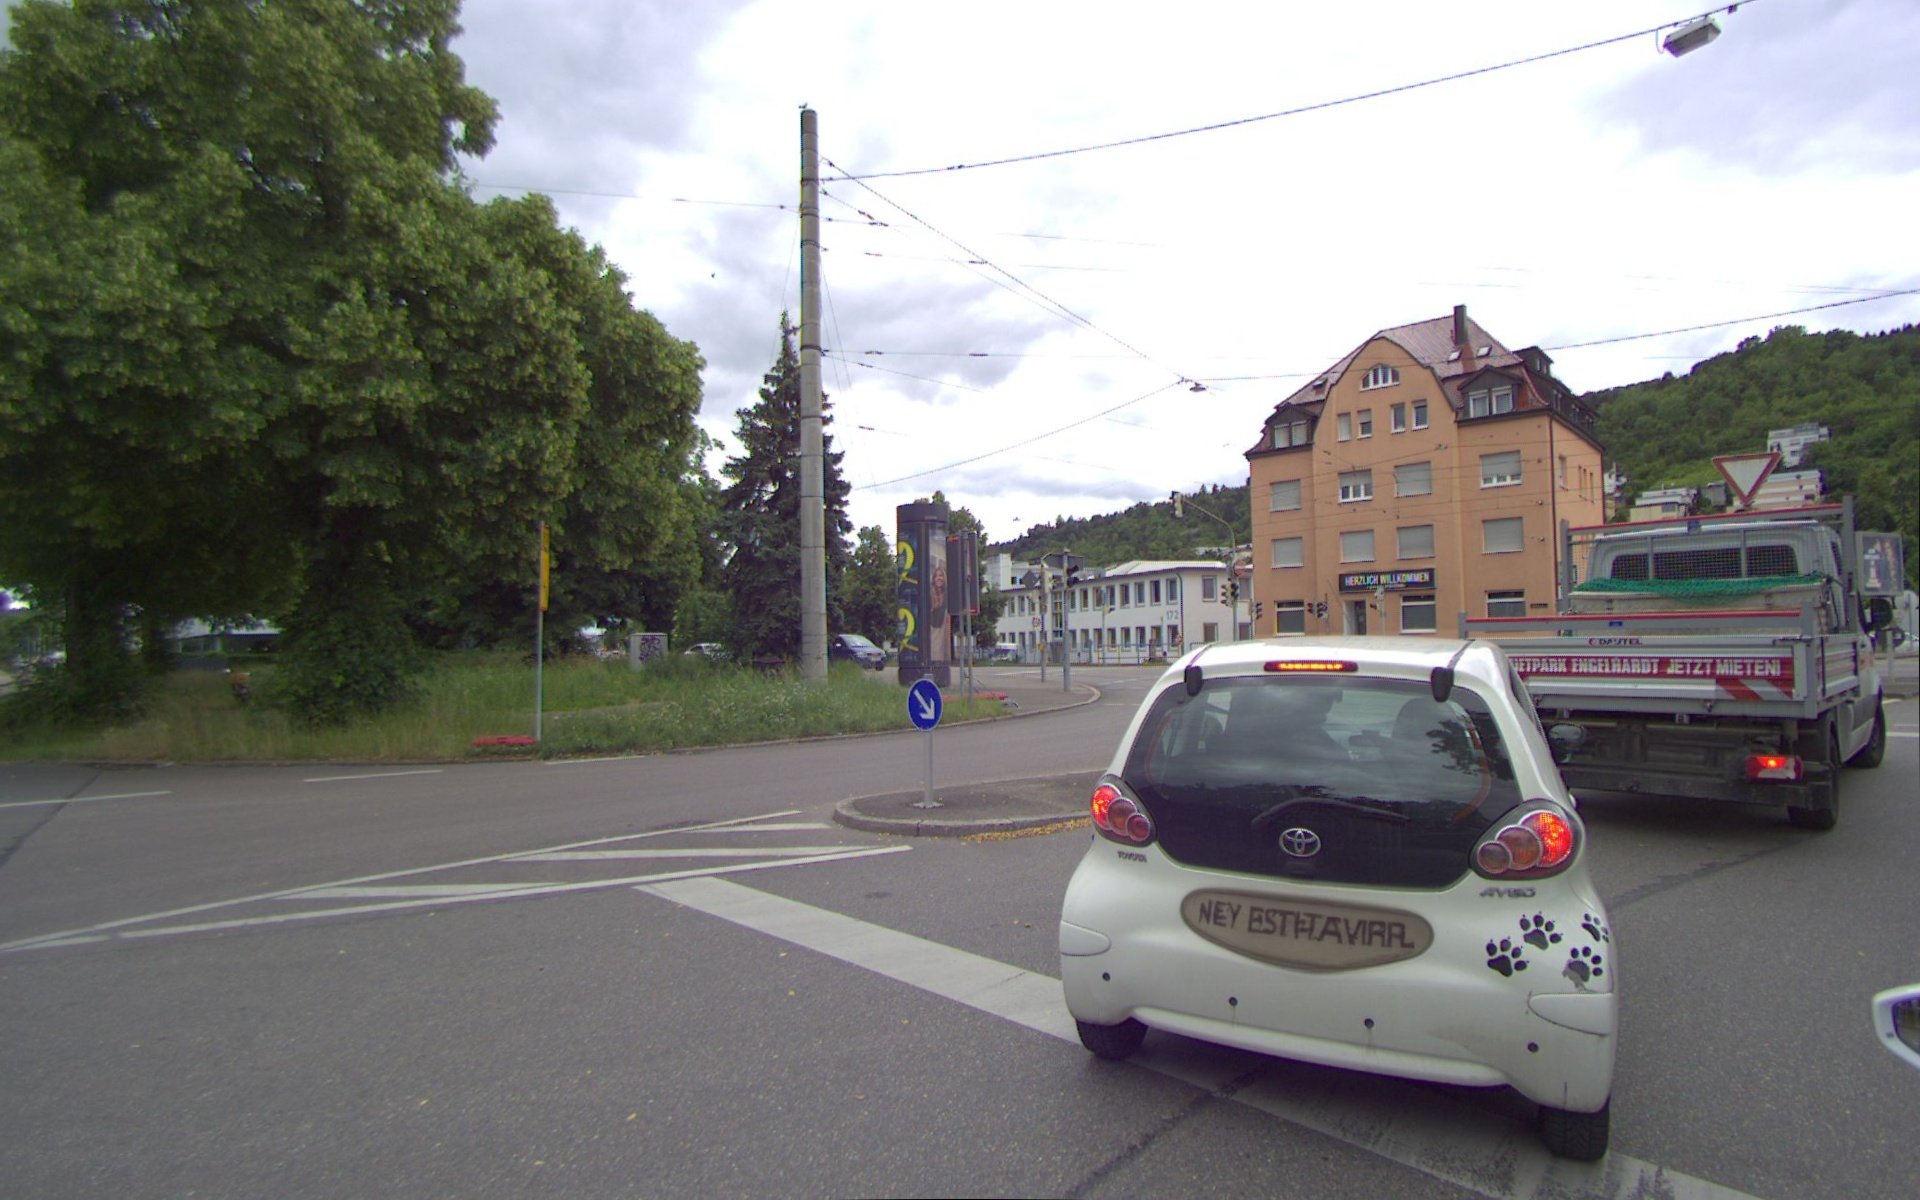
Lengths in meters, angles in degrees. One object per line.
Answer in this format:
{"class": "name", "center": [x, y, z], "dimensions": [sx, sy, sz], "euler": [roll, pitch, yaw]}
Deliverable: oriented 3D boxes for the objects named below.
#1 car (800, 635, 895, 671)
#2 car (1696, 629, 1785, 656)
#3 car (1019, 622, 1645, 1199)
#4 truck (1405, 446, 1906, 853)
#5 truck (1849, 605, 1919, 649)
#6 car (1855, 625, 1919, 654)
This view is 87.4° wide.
{"class": "car", "center": [-4.767, 2.220, 41.980], "dimensions": [1.790, 1.385, 4.422], "euler": [0, -3, -40]}
{"class": "car", "center": [47.558, 2.586, 61.273], "dimensions": [4.153, 1.553, 1.768], "euler": [-3, -3, 39]}
{"class": "car", "center": [1.731, 0.867, 4.324], "dimensions": [1.615, 1.451, 3.426], "euler": [-3, -3, 28]}
{"class": "truck", "center": [6.473, 0.390, 8.941], "dimensions": [5.986, 2.429, 2.399], "euler": [1, -4, -43]}
{"class": "truck", "center": [55.310, 1.540, 58.338], "dimensions": [5.112, 2.424, 1.995], "euler": [-3, -3, 33]}
{"class": "car", "center": [52.921, 2.209, 56.161], "dimensions": [1.764, 1.553, 4.162], "euler": [1, -3, -44]}
